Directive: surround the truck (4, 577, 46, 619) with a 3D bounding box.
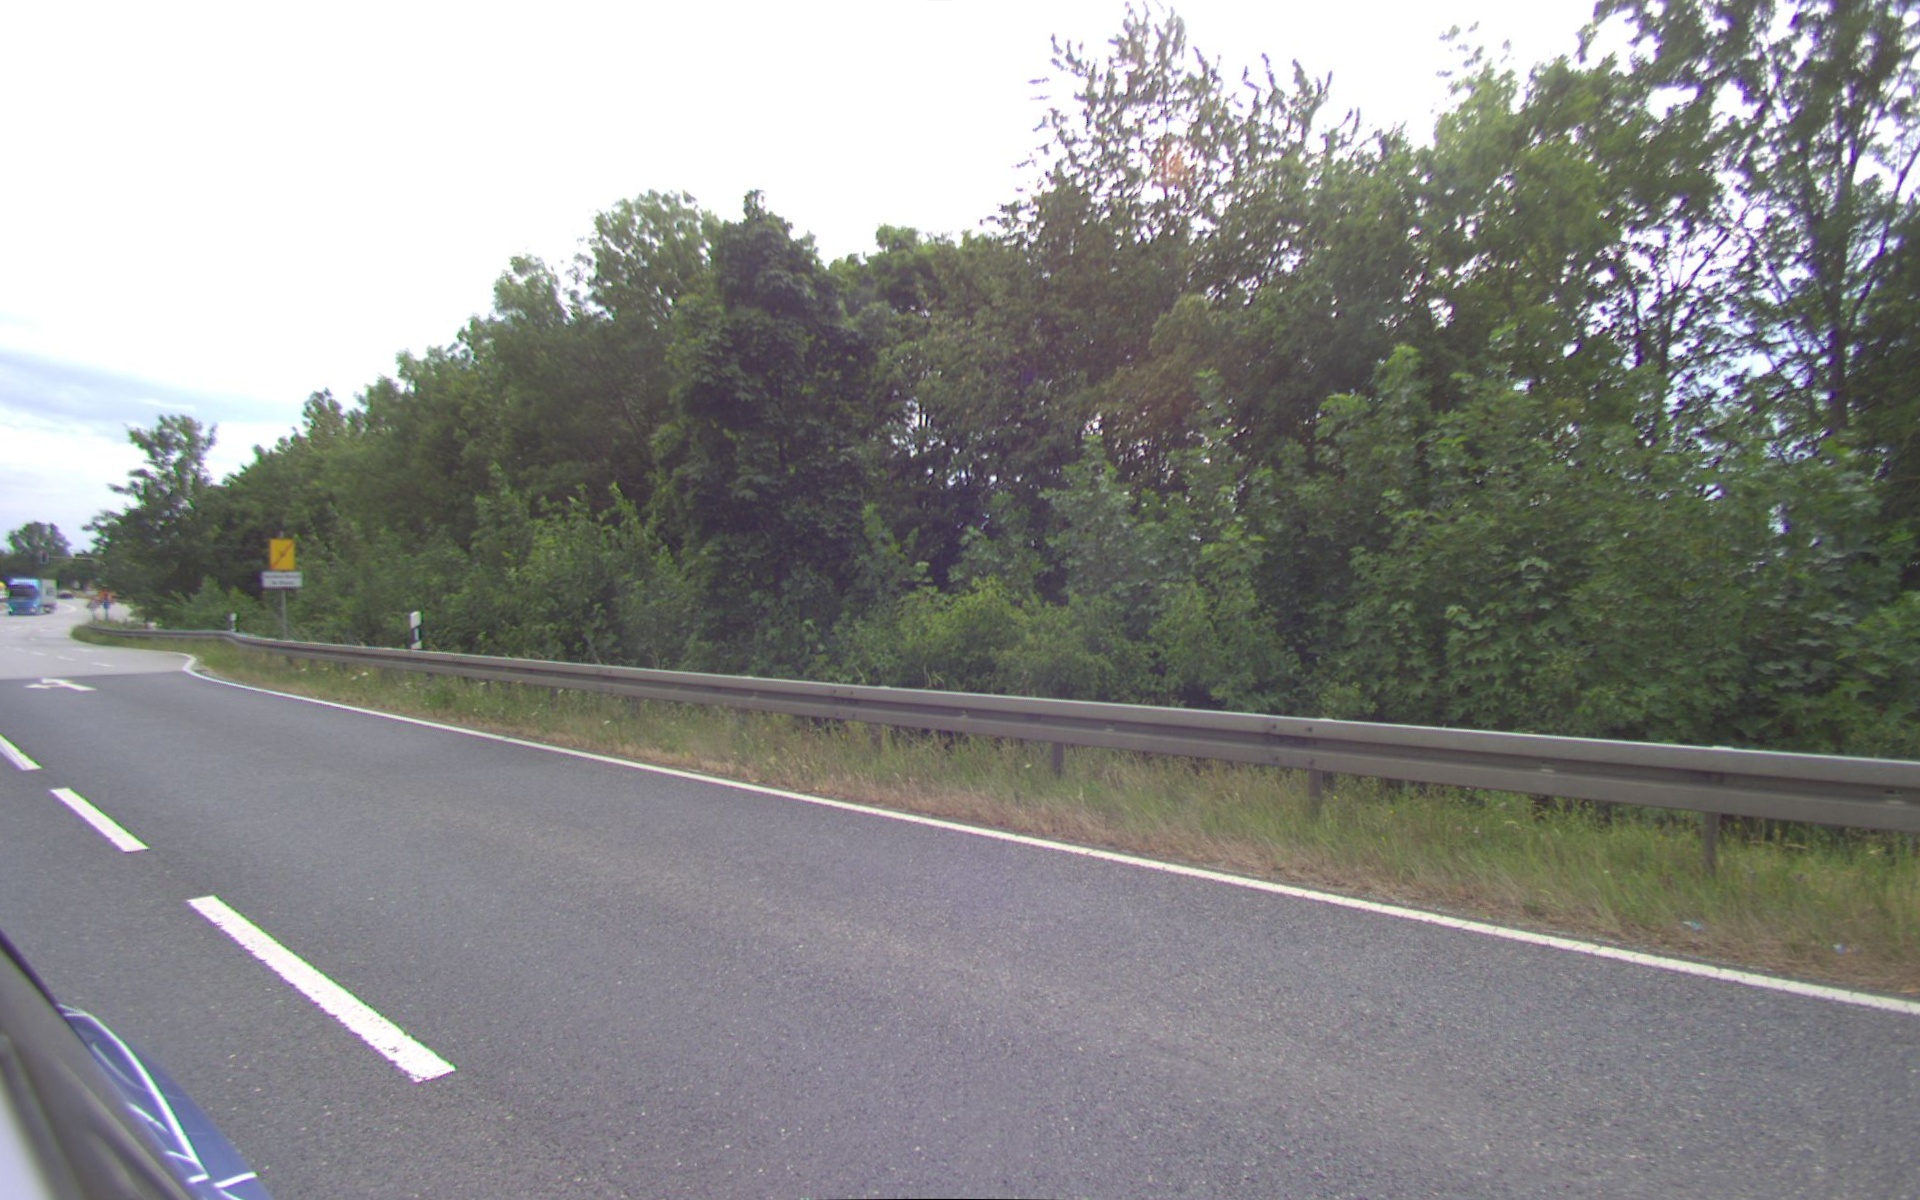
[{"bbox_3d":[-105.076,-0.193,113.845,2.982,4.383,9.585,4,-2,-41],"label":"truck"}]

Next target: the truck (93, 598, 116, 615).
[{"bbox_3d":[-139.685,1.135,165.206,2.289,2.621,6.026,4,-3,-45],"label":"truck"}]

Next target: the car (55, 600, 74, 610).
[{"bbox_3d":[-164.618,0.906,186.081,3.995,1.582,1.897,1,-2,38],"label":"car"}]
